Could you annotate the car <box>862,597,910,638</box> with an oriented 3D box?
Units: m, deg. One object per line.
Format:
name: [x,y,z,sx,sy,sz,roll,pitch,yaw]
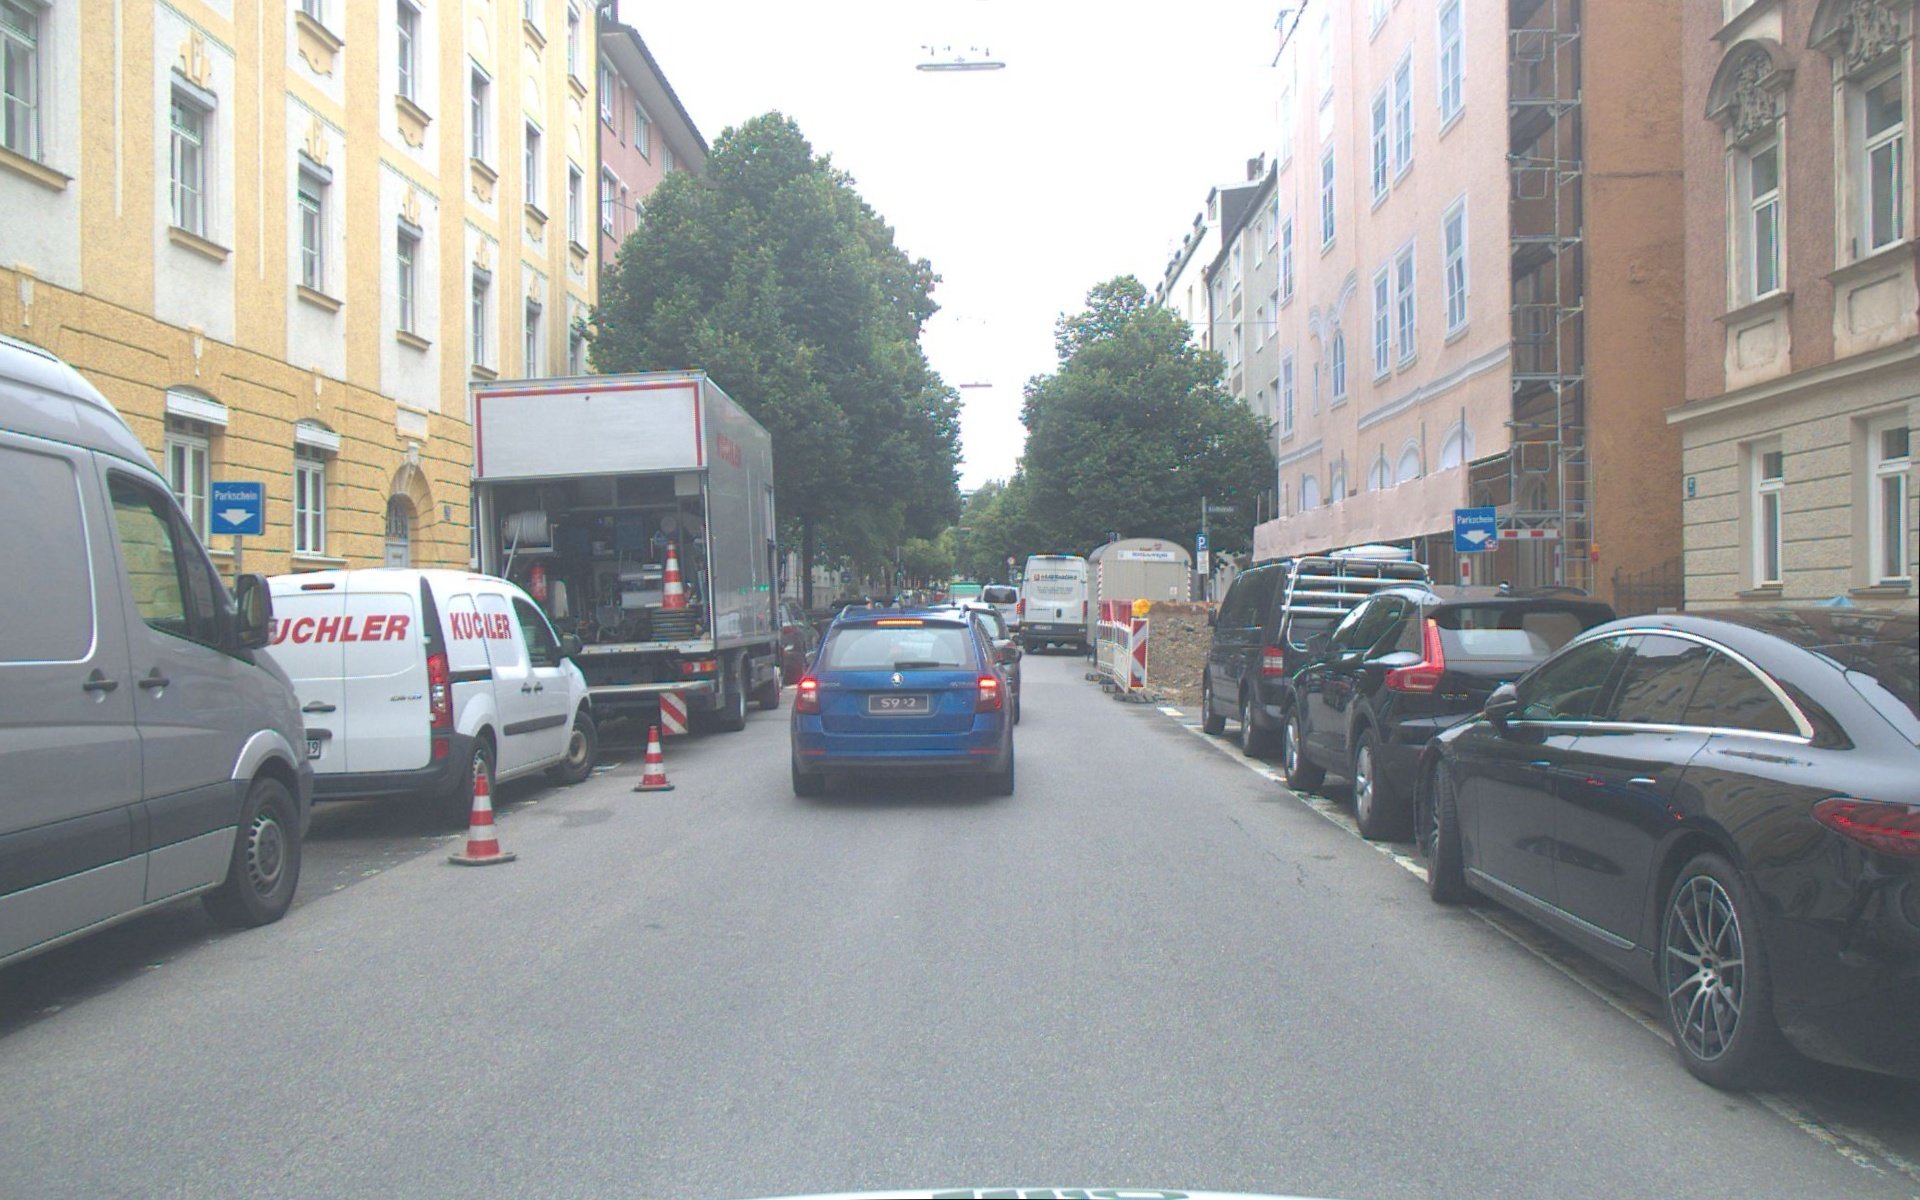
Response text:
car: [-2.879,0.662,64.904,1.775,1.504,3.999,0,0,-1]

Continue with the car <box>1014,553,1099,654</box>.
car: [2.840,0.114,47.516,2.068,2.710,5.504,1,-1,7]

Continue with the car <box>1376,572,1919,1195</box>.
car: [3.378,0.719,6.839,1.891,1.580,5.636,0,0,0]

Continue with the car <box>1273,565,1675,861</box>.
car: [3.522,0.699,12.195,1.658,1.706,4.408,3,0,2]

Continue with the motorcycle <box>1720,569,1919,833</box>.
motorcycle: [5.725,0.588,10.616,0.853,1.531,1.998,0,0,3]

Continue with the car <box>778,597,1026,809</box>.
car: [-0.357,0.741,13.952,1.752,1.486,4.315,-1,0,1]

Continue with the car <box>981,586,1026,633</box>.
car: [1.838,0.383,70.549,1.829,1.902,4.347,1,0,1]

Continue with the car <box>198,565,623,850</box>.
car: [-4.055,0.711,13.028,1.726,1.810,4.327,-2,0,2]

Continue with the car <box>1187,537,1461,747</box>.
car: [3.802,0.507,18.243,2.039,1.955,5.141,1,-2,2]

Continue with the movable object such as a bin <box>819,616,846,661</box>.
movable object such as a bin: [-3.500,1.050,45.437,0.697,1.168,0.636,-2,0,-3]

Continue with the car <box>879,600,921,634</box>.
car: [-2.761,0.760,76.945,1.775,1.504,4.000,0,0,1]

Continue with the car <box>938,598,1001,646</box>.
car: [0.327,0.659,51.519,1.829,1.371,4.348,1,0,2]

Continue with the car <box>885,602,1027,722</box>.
car: [-0.014,0.760,21.759,1.705,1.446,3.664,0,0,1]

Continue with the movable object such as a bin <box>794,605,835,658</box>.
movable object such as a bin: [-4.064,0.869,46.272,1.060,1.400,1.083,-2,0,-3]

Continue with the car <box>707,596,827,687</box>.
car: [-3.781,0.769,33.042,1.748,1.657,4.186,-1,0,1]

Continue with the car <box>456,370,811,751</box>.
car: [-3.757,-0.394,21.379,2.755,3.884,8.723,-1,0,0]

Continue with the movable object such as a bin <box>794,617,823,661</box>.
movable object such as a bin: [-4.154,1.078,45.385,0.706,1.158,0.658,-2,0,-3]

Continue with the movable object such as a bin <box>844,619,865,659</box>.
movable object such as a bin: [-2.894,1.067,45.495,0.535,1.038,0.636,-2,0,-3]

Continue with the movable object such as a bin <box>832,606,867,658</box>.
movable object such as a bin: [-3.087,0.895,46.351,0.900,1.400,1.079,-2,0,-3]

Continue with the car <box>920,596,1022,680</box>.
car: [0.204,0.684,32.238,1.829,1.479,4.347,1,0,0]

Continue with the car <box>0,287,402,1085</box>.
car: [-4.182,0.327,5.608,2.014,2.632,6.877,-4,0,0]

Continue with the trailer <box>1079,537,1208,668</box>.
trailer: [4.355,0.075,40.411,2.450,2.890,6.901,1,-1,1]

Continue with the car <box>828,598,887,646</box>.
car: [-3.323,0.694,54.173,1.775,1.504,3.999,0,0,-1]

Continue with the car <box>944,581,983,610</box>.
car: [0.189,-0.305,99.215,1.968,1.682,4.344,1,0,-4]

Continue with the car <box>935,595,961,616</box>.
car: [-0.968,0.430,136.480,1.966,1.682,4.348,1,0,1]
